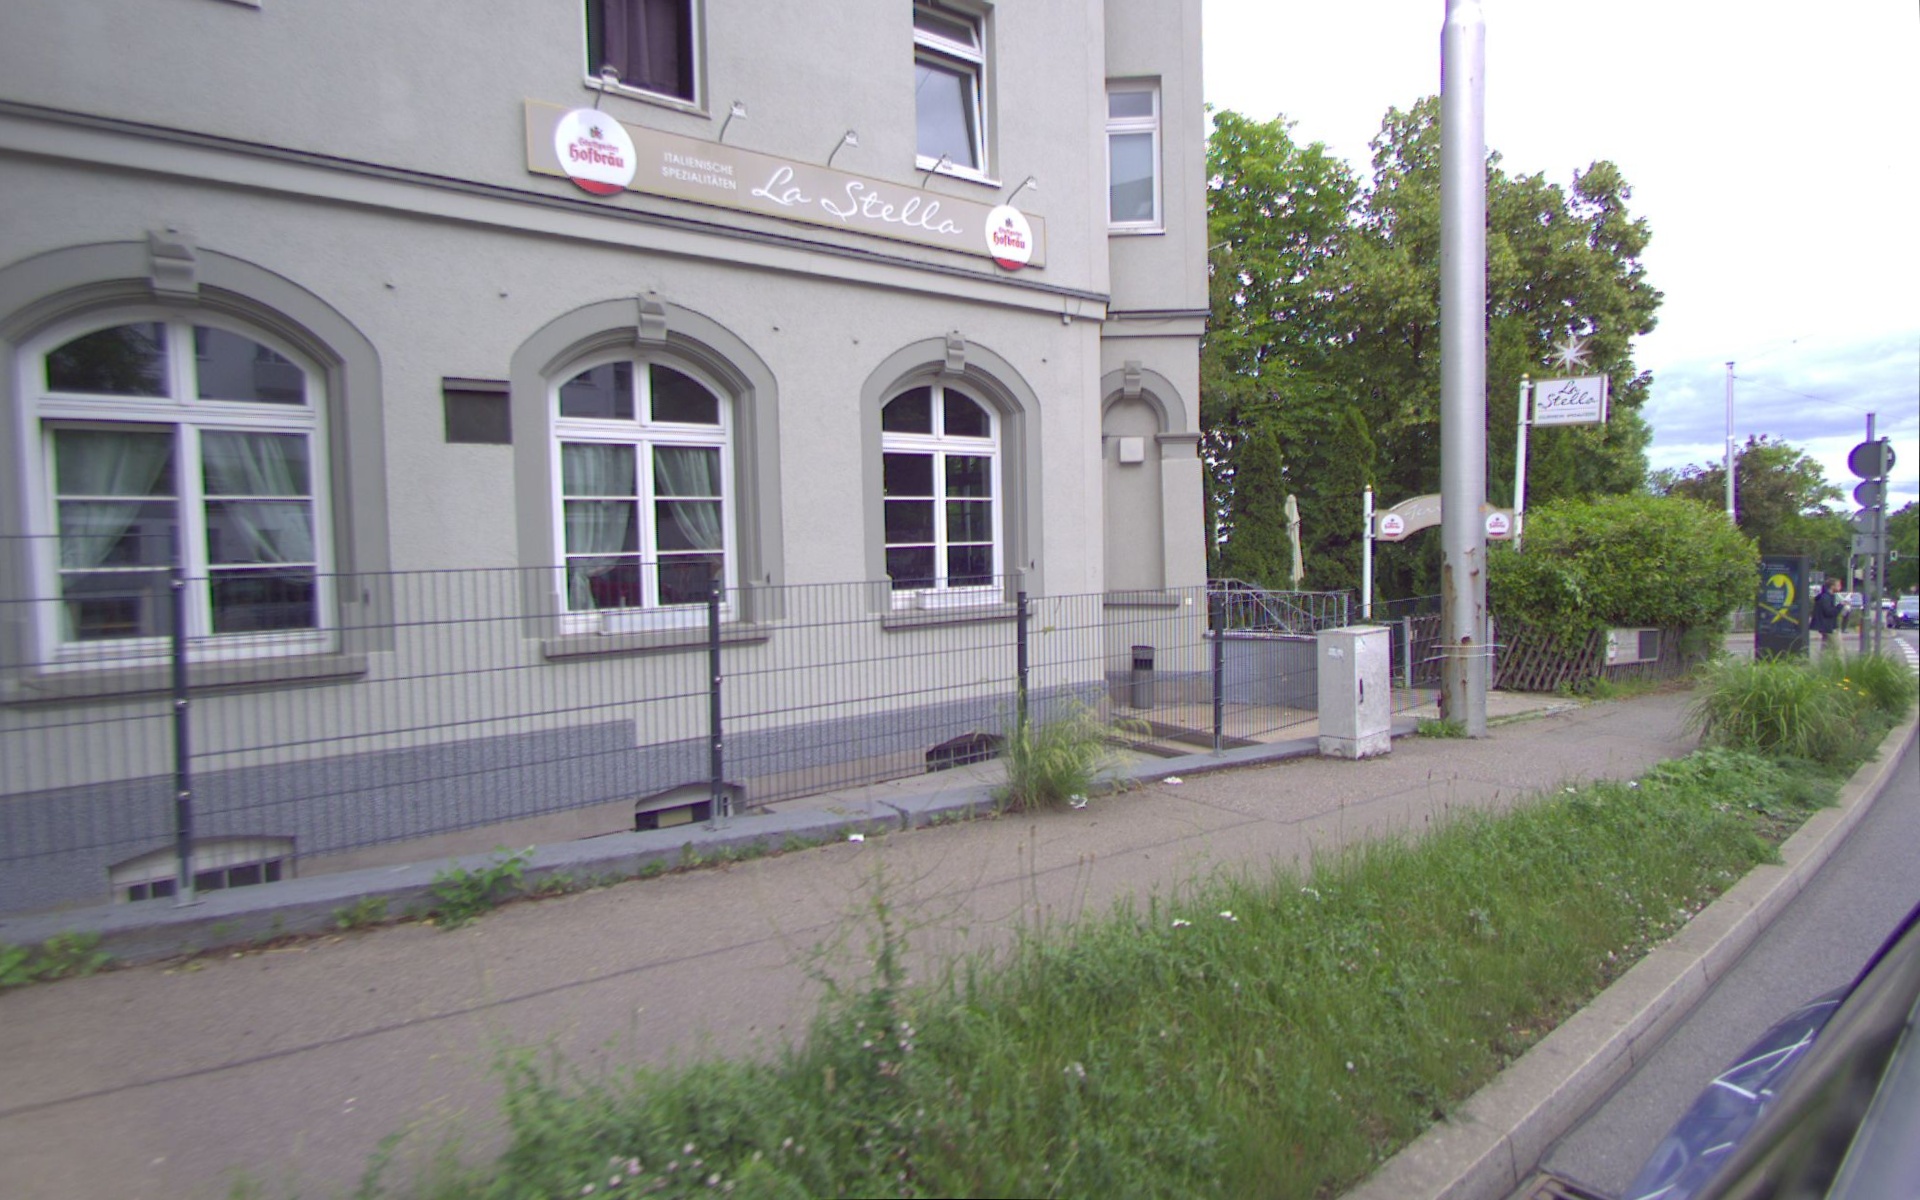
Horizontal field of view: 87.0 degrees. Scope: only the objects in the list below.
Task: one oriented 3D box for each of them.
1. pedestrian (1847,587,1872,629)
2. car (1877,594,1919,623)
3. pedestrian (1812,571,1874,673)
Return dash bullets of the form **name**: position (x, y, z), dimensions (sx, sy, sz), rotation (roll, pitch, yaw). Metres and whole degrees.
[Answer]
- **pedestrian**: position (37.642, 0.311, 42.347), dimensions (0.609, 1.709, 0.694), rotation (-1, 2, -42)
- **car**: position (47.819, 0.412, 51.094), dimensions (1.798, 1.411, 4.228), rotation (1, 1, 36)
- **pedestrian**: position (16.414, 0.403, 18.821), dimensions (0.688, 1.857, 0.615), rotation (-1, 0, 24)
